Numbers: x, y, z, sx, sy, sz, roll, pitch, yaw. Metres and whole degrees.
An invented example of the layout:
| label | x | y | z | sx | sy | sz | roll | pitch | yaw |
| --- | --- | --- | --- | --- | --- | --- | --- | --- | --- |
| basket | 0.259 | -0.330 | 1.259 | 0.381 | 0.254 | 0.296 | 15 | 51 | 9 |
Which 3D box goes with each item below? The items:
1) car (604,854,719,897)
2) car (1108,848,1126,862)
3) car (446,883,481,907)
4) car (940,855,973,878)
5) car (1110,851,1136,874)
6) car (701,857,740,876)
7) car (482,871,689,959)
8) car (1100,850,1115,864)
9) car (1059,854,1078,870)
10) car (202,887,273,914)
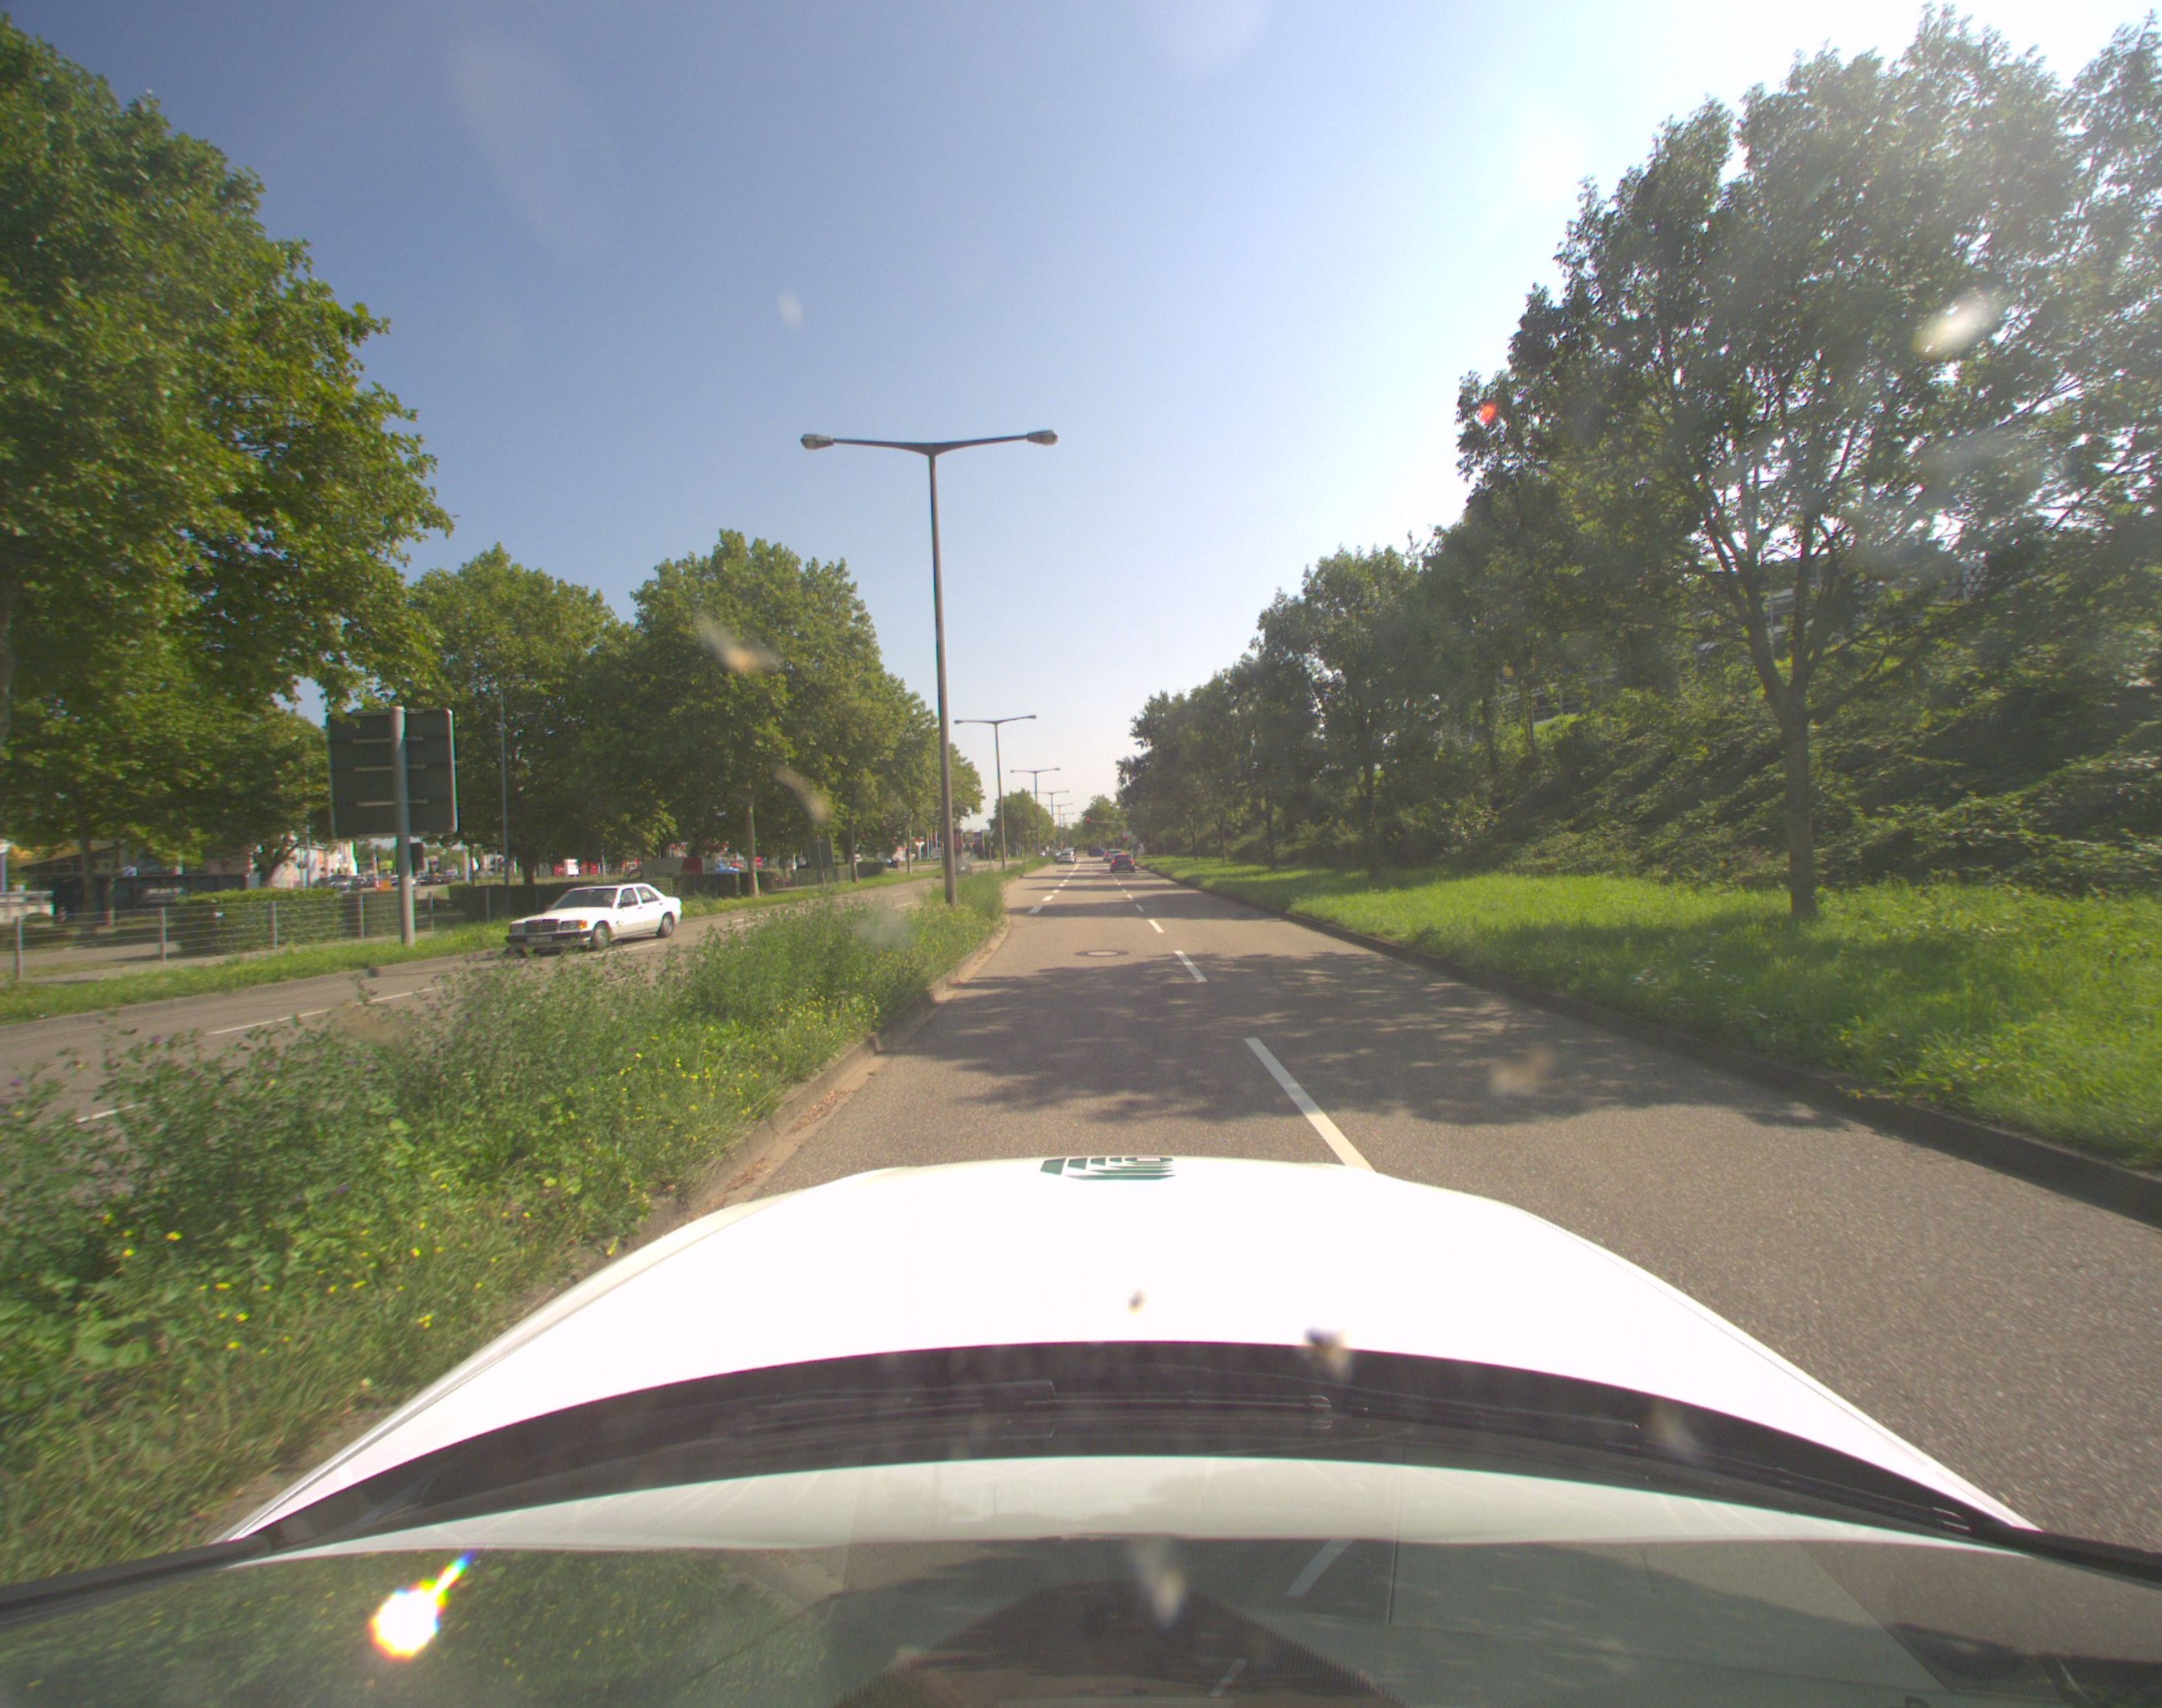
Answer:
| label | x | y | z | sx | sy | sz | roll | pitch | yaw |
| --- | --- | --- | --- | --- | --- | --- | --- | --- | --- |
| car | -24.809 | 1.235 | 48.340 | 5.568 | 2.336 | 2.278 | -1 | 2 | -1 |
| car | 4.465 | 0.138 | 100.824 | 1.987 | 1.654 | 4.000 | -3 | 0 | 0 |
| car | -47.267 | 3.083 | 62.407 | 1.940 | 1.452 | 3.958 | -2 | 3 | -35 |
| car | -9.917 | 0.965 | 65.333 | 1.987 | 1.561 | 4.000 | -1 | 3 | 0 |
| car | 3.089 | 0.613 | 60.481 | 1.774 | 1.427 | 4.001 | -1 | 3 | 1 |
| car | -43.727 | 1.530 | 98.780 | 4.012 | 2.013 | 1.981 | -2 | 3 | -30 |
| car | -10.807 | 1.252 | 18.225 | 1.789 | 1.416 | 4.411 | -4 | 1 | 1 |
| car | 3.704 | 0.381 | 114.142 | 1.987 | 1.653 | 4.001 | -2 | 3 | 0 |
| car | -1.396 | 0.853 | 92.877 | 1.986 | 1.702 | 4.001 | -3 | 0 | 1 |
| car | -75.843 | 4.191 | 73.289 | 4.017 | 2.013 | 1.979 | -2 | 3 | -35 |
